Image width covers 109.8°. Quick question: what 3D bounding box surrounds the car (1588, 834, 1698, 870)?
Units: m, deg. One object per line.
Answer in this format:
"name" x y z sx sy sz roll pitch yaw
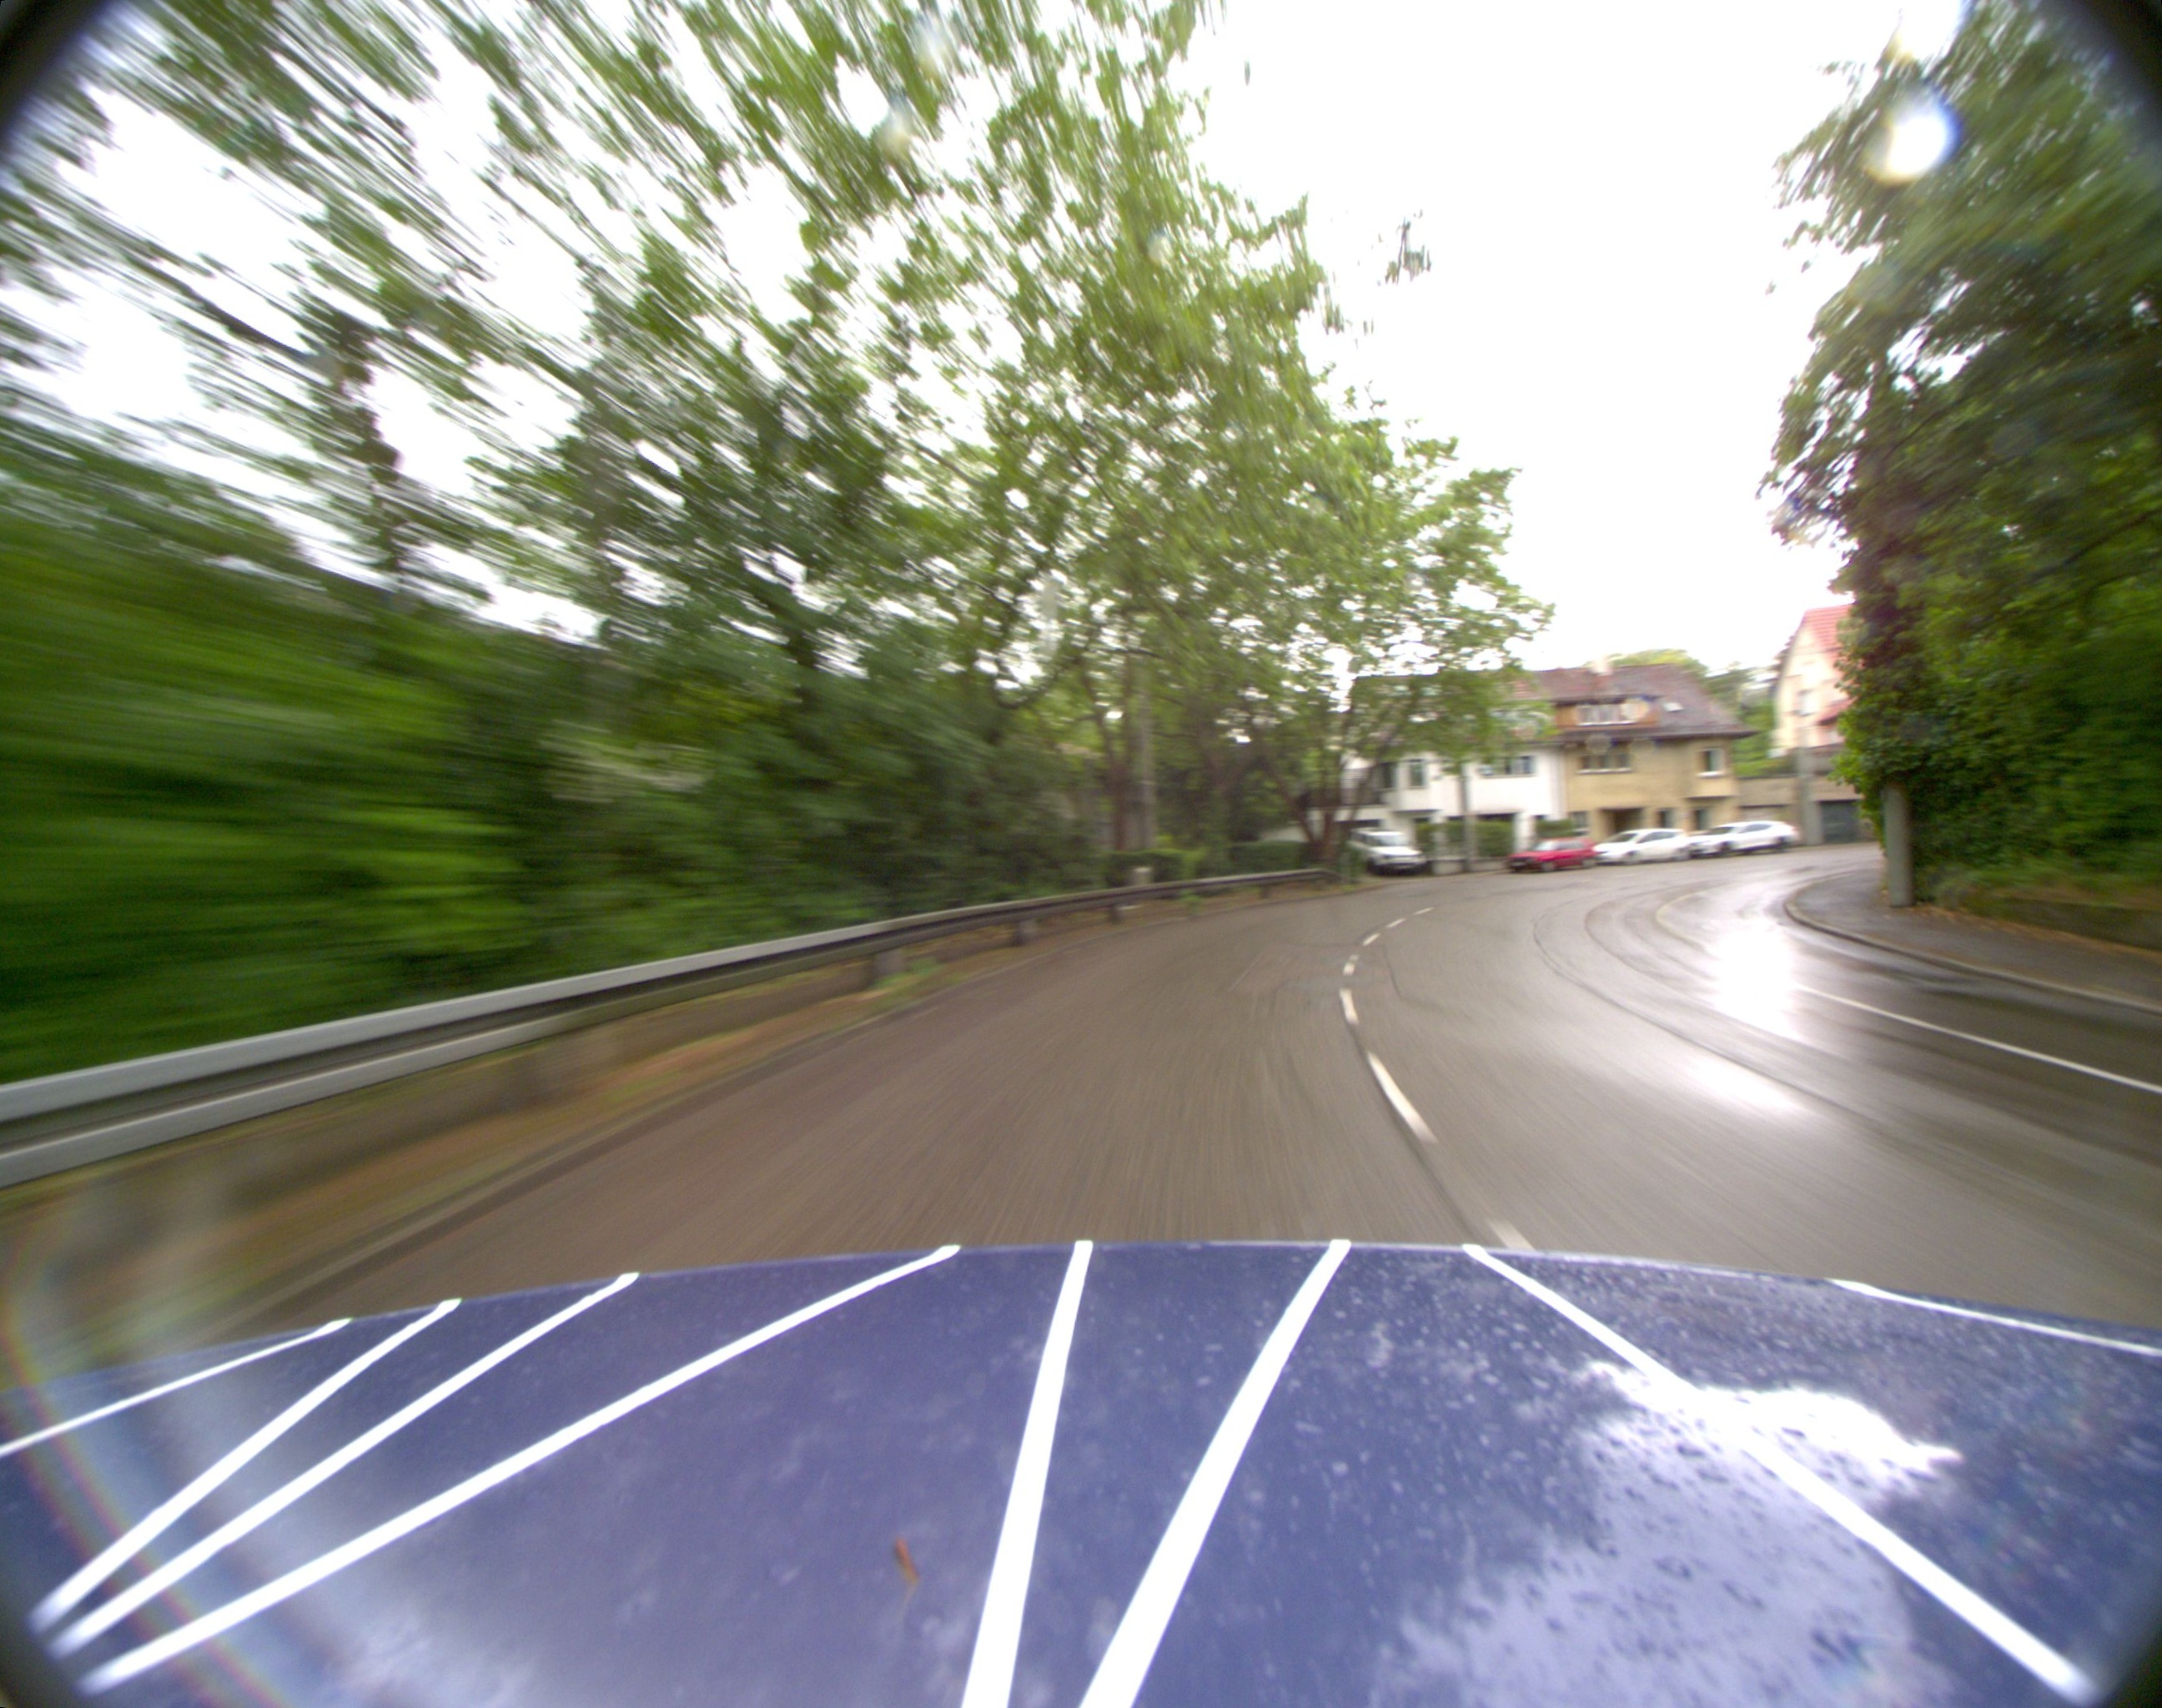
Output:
"car" 25.049 -0.088 33.910 4.000 1.412 1.633 -2 1 -10

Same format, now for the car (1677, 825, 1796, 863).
"car" 29.606 -0.439 34.359 4.088 1.508 1.634 -2 1 -4

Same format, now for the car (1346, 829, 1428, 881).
"car" 14.079 -0.027 35.255 1.957 1.915 4.262 -2 6 -2

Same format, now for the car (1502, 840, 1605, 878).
"car" 20.255 0.205 32.578 4.003 1.412 1.632 -2 1 -20
